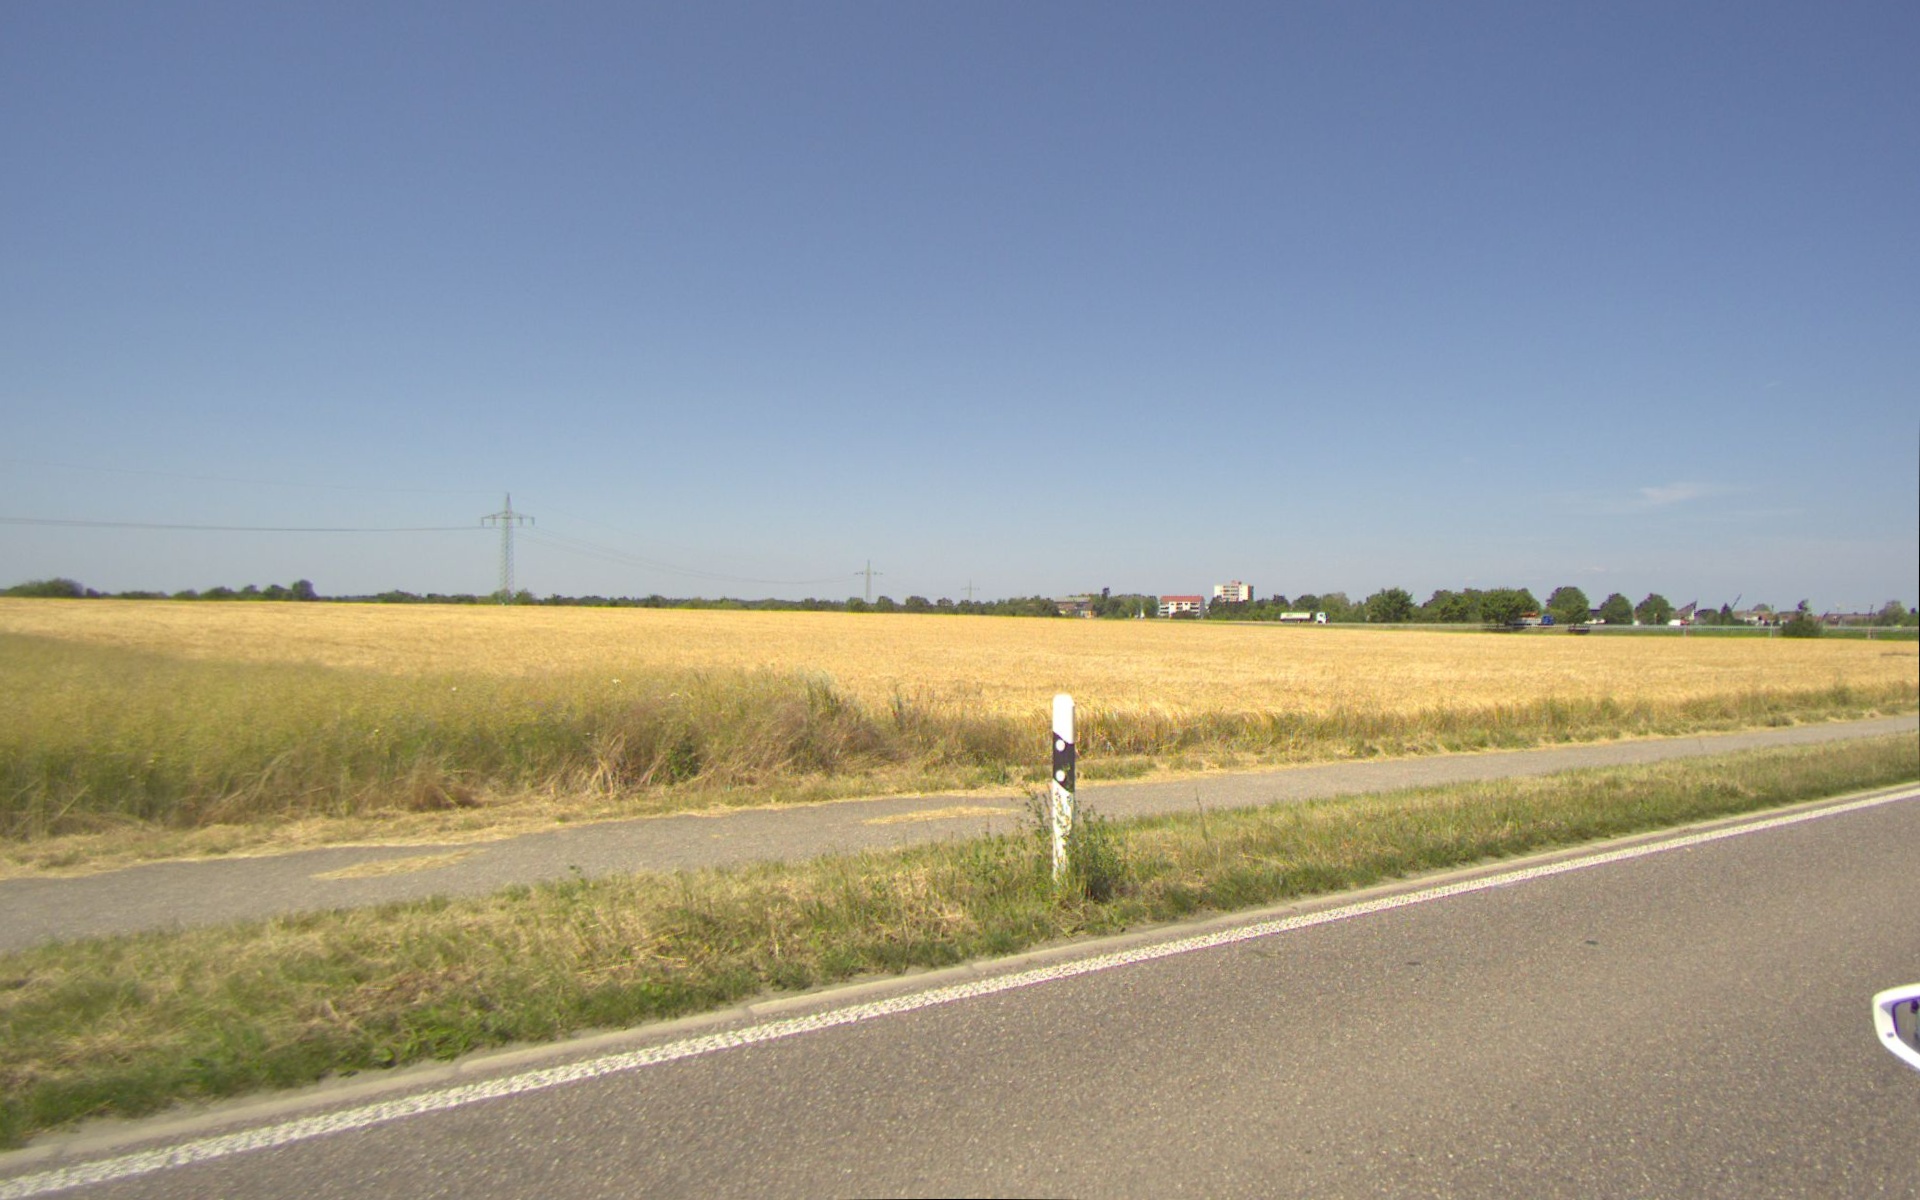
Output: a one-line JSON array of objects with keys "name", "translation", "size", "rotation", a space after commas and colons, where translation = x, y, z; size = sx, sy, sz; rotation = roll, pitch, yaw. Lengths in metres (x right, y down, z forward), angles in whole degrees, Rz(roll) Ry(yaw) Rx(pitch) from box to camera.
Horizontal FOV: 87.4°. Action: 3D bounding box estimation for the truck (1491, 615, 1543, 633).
[{"name": "truck", "translation": [124.968, 5.377, 225.416], "size": [9.974, 3.844, 2.610], "rotation": [1, 1, 44]}]
